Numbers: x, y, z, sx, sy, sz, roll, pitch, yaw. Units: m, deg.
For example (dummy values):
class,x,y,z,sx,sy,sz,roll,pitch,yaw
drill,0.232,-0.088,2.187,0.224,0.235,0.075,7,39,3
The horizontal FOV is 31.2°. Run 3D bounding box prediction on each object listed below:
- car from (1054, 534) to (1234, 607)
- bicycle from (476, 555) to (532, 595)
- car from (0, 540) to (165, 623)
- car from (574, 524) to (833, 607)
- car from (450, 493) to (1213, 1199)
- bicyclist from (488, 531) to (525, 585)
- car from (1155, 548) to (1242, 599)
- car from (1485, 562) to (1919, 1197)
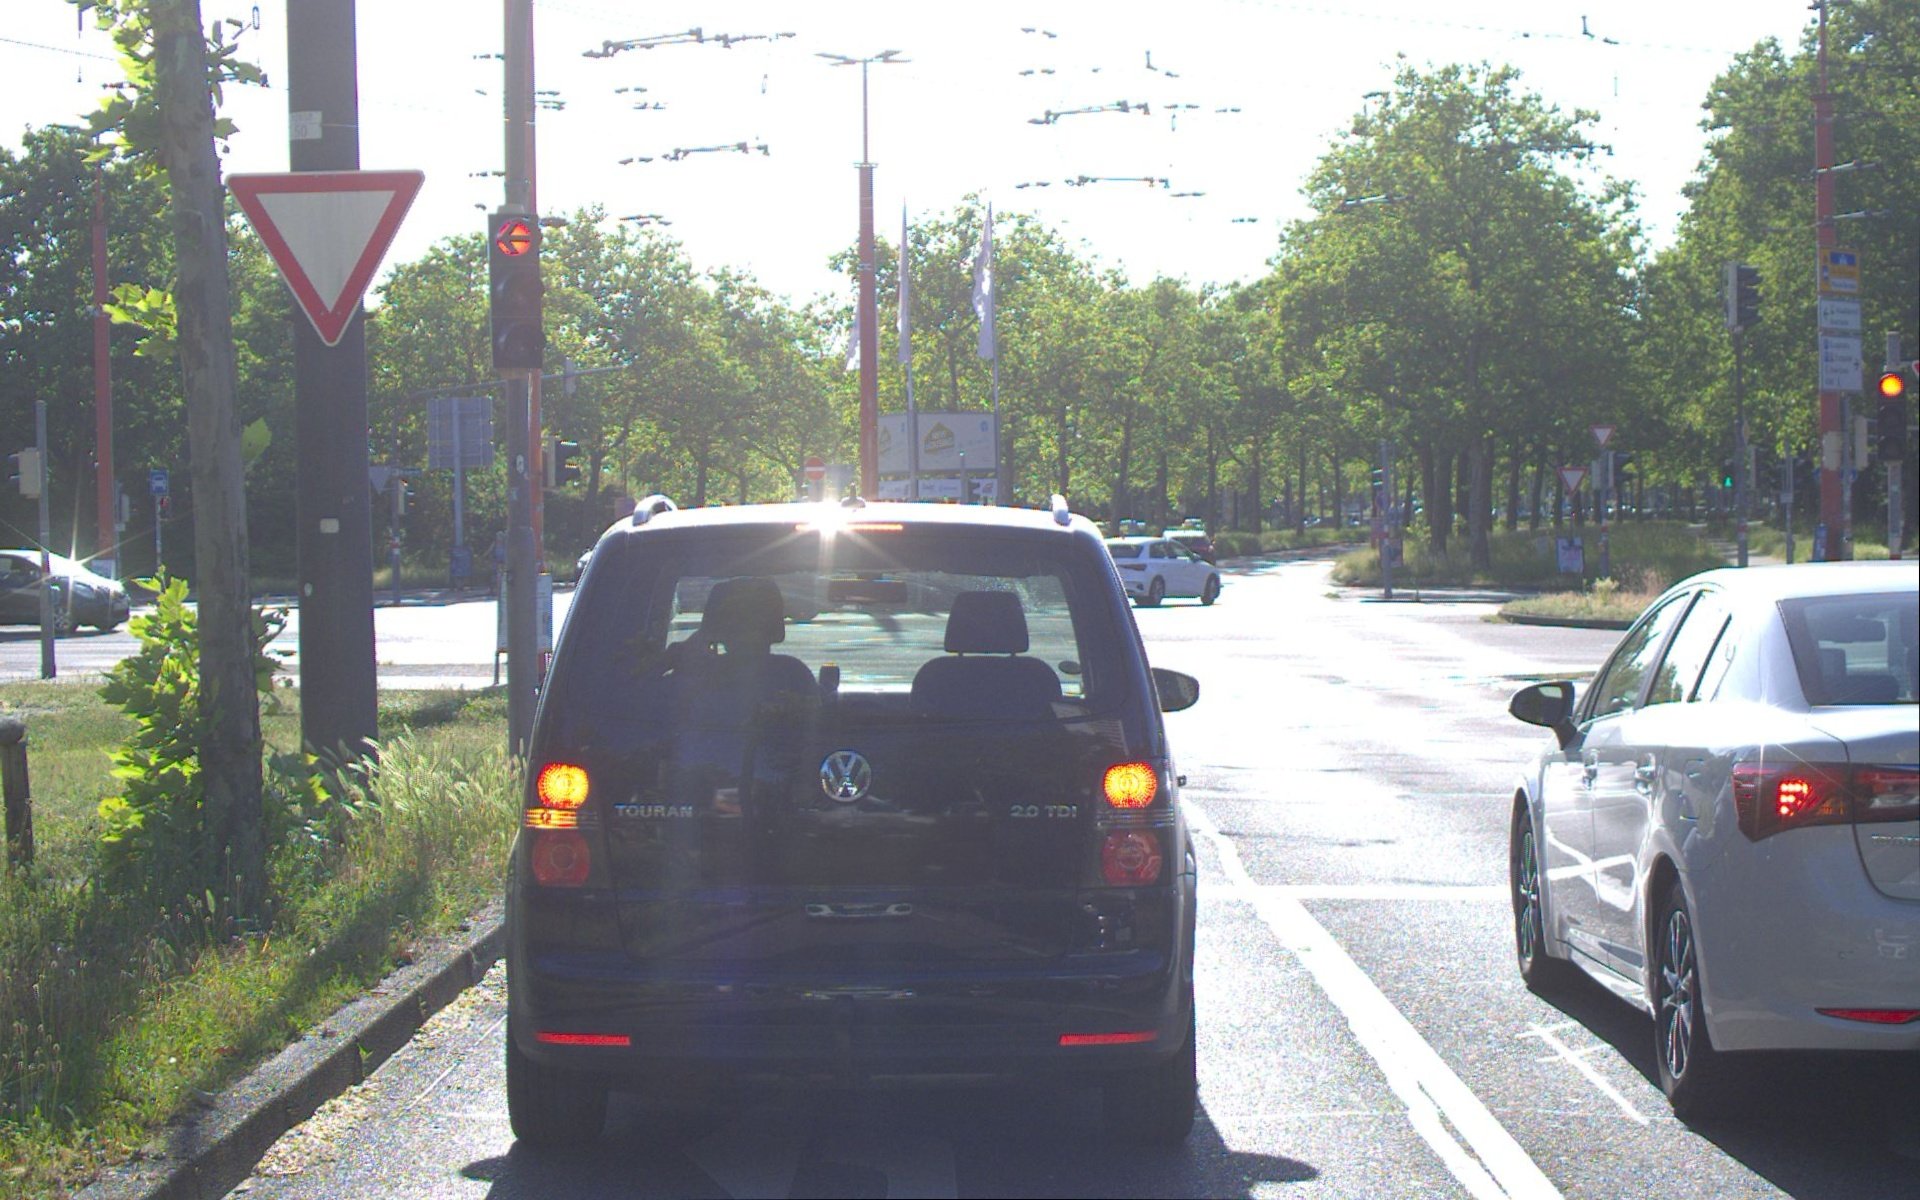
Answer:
class,x,y,z,sx,sy,sz,roll,pitch,yaw
car,3.857,-0.640,71.488,1.911,1.459,4.215,0,1,33
bicycle,-12.519,-0.689,94.419,0.735,1.086,1.959,0,1,18
car,-16.681,-0.344,62.304,4.047,1.459,1.912,0,1,20
car,-4.697,-0.643,63.005,4.358,1.459,1.915,-1,1,-21
car,-0.315,0.545,9.878,1.737,1.635,4.000,0,1,-1
bicyclist,-12.488,-1.157,94.631,0.693,1.452,0.874,0,1,18
car,7.005,-0.784,100.678,1.909,1.459,4.220,-1,1,13
car,2.689,0.629,10.079,1.715,1.449,4.144,0,1,1
